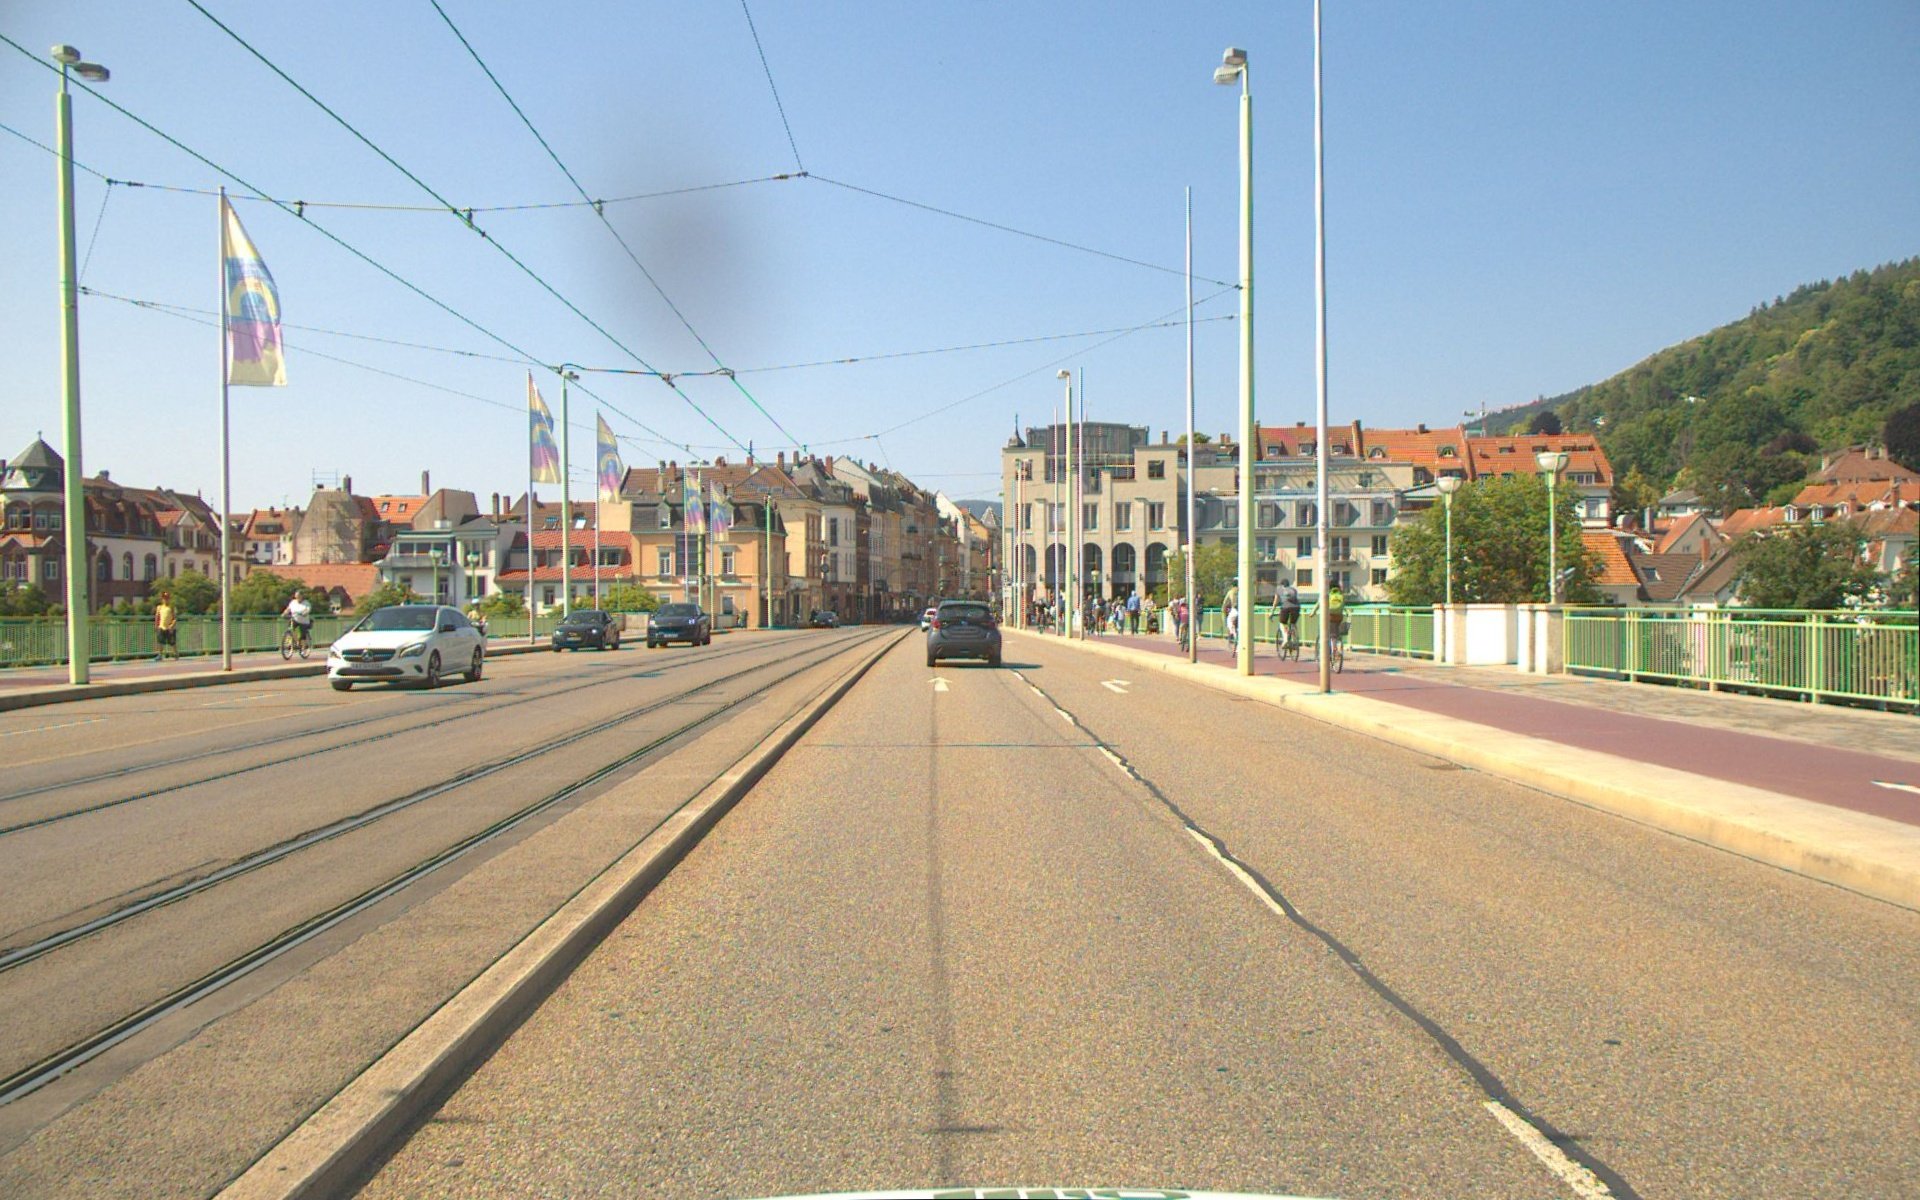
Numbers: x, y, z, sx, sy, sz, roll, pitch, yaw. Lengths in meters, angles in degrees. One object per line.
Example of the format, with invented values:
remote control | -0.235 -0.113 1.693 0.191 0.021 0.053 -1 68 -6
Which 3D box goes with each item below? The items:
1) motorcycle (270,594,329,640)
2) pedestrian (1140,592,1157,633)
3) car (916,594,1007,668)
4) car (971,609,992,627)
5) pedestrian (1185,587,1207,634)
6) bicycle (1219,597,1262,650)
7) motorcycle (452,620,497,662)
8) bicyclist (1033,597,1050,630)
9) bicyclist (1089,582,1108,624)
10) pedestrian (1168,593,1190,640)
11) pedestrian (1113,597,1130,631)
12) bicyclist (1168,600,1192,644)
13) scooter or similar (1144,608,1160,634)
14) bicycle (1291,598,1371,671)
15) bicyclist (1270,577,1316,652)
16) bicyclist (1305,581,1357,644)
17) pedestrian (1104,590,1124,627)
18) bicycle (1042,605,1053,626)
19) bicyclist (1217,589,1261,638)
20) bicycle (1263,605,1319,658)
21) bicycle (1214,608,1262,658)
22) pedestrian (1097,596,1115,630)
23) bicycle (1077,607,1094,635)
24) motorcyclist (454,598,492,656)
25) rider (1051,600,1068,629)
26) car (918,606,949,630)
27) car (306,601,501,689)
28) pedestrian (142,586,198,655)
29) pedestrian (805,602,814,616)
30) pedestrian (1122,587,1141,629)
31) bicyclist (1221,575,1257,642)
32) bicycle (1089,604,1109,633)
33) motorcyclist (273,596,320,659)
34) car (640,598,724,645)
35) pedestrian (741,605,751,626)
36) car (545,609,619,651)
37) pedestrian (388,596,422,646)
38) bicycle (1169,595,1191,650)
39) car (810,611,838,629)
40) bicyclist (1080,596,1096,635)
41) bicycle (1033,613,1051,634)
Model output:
motorcycle | -16.859 0.426 42.269 0.687 1.129 2.178 -1 0 -2
pedestrian | 8.214 0.529 72.104 0.629 1.787 0.866 -1 0 -3
car | -0.020 0.677 38.775 1.872 1.567 3.998 -1 1 -3
car | 1.933 1.639 147.896 1.766 1.494 4.001 -2 0 1
pedestrian | 8.191 0.368 57.441 0.587 1.614 0.866 -1 0 -3
bicycle | 7.036 0.568 41.542 0.606 1.293 2.215 -1 0 -3
motorcycle | -13.719 1.145 46.780 0.687 1.129 2.178 -1 0 -2
bicyclist | 4.096 0.687 82.919 0.640 1.594 1.337 -2 -1 -3
bicyclist | 5.748 0.114 68.701 0.643 1.705 0.868 -1 0 -3
pedestrian | 7.593 0.555 57.400 0.587 1.614 0.866 -1 0 -3
pedestrian | 7.100 0.615 72.736 0.601 1.491 0.848 -1 0 -1
bicyclist | 5.735 0.562 43.142 0.586 1.121 0.853 -1 0 9
scooter or similar | 8.265 0.916 71.224 0.576 1.088 0.865 -1 0 -3
bicycle | 6.452 0.584 28.897 0.682 1.214 2.076 -1 0 -7
bicyclist | 6.907 0.296 34.351 0.720 1.527 0.980 -1 0 -3
bicyclist | 6.472 0.210 28.866 0.653 1.063 0.980 -1 0 -2
pedestrian | 7.709 0.419 82.842 0.911 1.792 0.937 -1 0 -1
bicycle | 5.317 0.933 100.528 0.652 1.199 2.029 -1 0 2
bicyclist | 6.182 0.293 36.740 0.720 1.048 1.175 -1 0 -3
bicycle | 6.880 0.635 34.460 0.606 1.056 2.265 -1 0 -3
bicycle | 6.165 0.721 36.761 0.606 1.056 2.050 -1 0 -3
pedestrian | 7.476 0.657 84.633 0.817 1.719 0.869 -1 0 -1
bicycle | 5.599 0.913 73.735 0.515 1.199 2.028 -1 0 -2
motorcyclist | -13.772 0.762 46.795 0.811 1.601 0.831 -1 0 -2
rider | 5.444 0.783 90.462 0.871 1.531 0.840 -1 0 -3
car | -1.747 1.164 107.846 1.768 1.494 3.997 -2 0 -4
car | -10.002 0.759 30.113 1.952 1.434 4.548 -1 0 1
pedestrian | -19.442 0.494 40.727 0.880 1.687 1.029 0 0 1
pedestrian | -14.814 0.884 162.997 0.747 1.422 0.663 -1 0 1
pedestrian | 7.441 0.342 71.780 0.698 1.842 0.848 -1 0 -1
bicyclist | 7.021 0.212 41.674 0.720 1.664 0.866 -1 0 -3
bicycle | 5.764 0.761 68.759 0.581 1.199 1.939 -1 0 -2
motorcyclist | -16.924 0.698 42.220 0.784 1.576 1.069 -1 0 -2
car | -10.235 0.758 61.205 1.951 1.627 4.341 -1 0 6
pedestrian | -17.125 1.241 132.337 0.747 1.694 0.663 -1 0 1
car | -13.405 1.045 58.856 1.722 1.386 4.382 -1 0 -2
pedestrian | -19.736 0.735 58.846 0.813 1.752 1.094 -1 0 -1
bicycle | 5.744 0.558 43.169 0.523 1.391 2.218 -1 0 9
car | -11.965 1.790 145.679 1.952 1.505 4.002 -1 0 3
bicyclist | 5.692 0.669 73.484 0.615 1.719 0.868 -1 0 -3
bicycle | 4.118 1.163 82.852 0.640 0.998 2.176 -2 -1 -3
